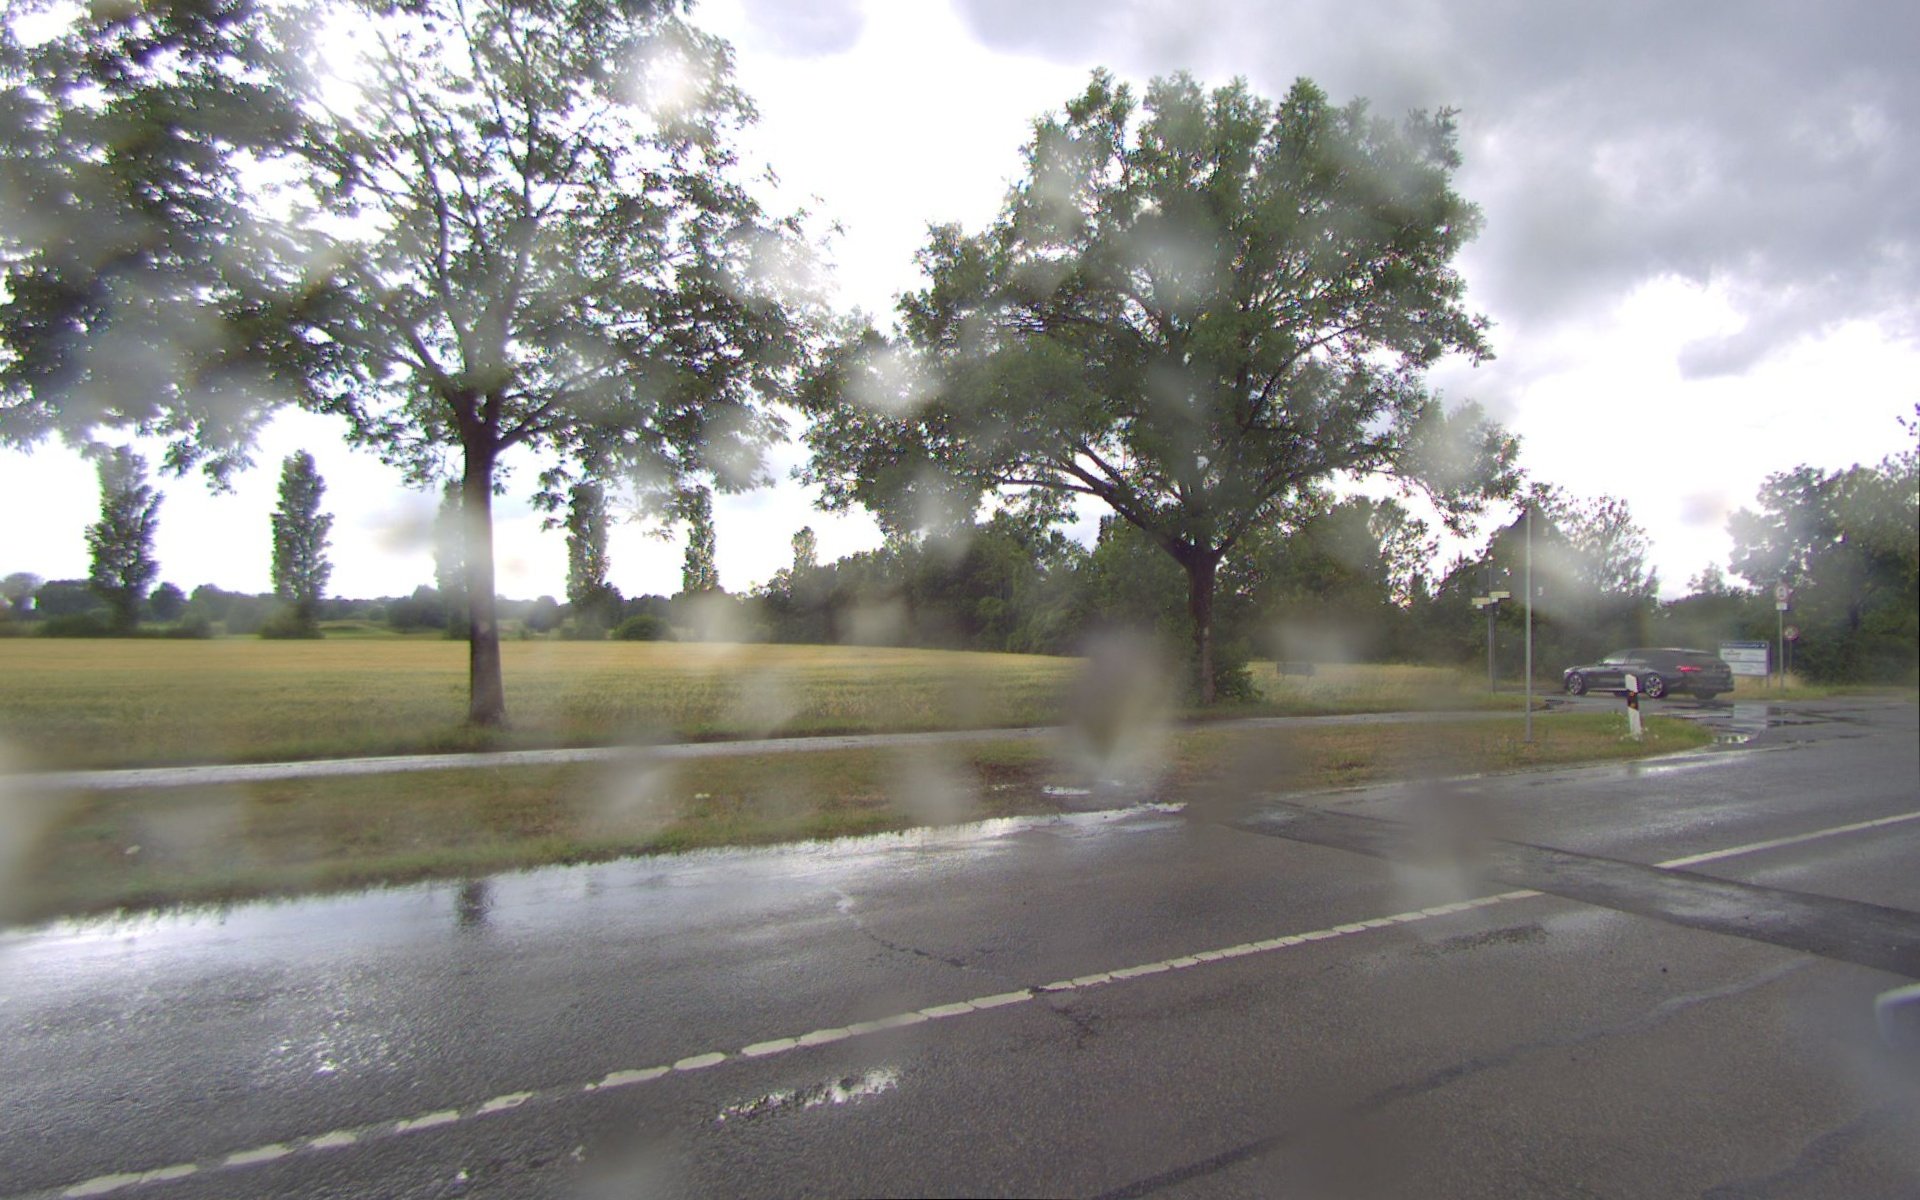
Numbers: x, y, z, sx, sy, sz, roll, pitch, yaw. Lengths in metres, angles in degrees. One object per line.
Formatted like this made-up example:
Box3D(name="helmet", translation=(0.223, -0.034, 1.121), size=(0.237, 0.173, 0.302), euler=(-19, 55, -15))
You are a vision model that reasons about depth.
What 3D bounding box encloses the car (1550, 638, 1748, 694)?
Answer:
Box3D(name="car", translation=(20.918, 1.978, 30.758), size=(2.272, 1.567, 4.617), euler=(2, -3, -16))
